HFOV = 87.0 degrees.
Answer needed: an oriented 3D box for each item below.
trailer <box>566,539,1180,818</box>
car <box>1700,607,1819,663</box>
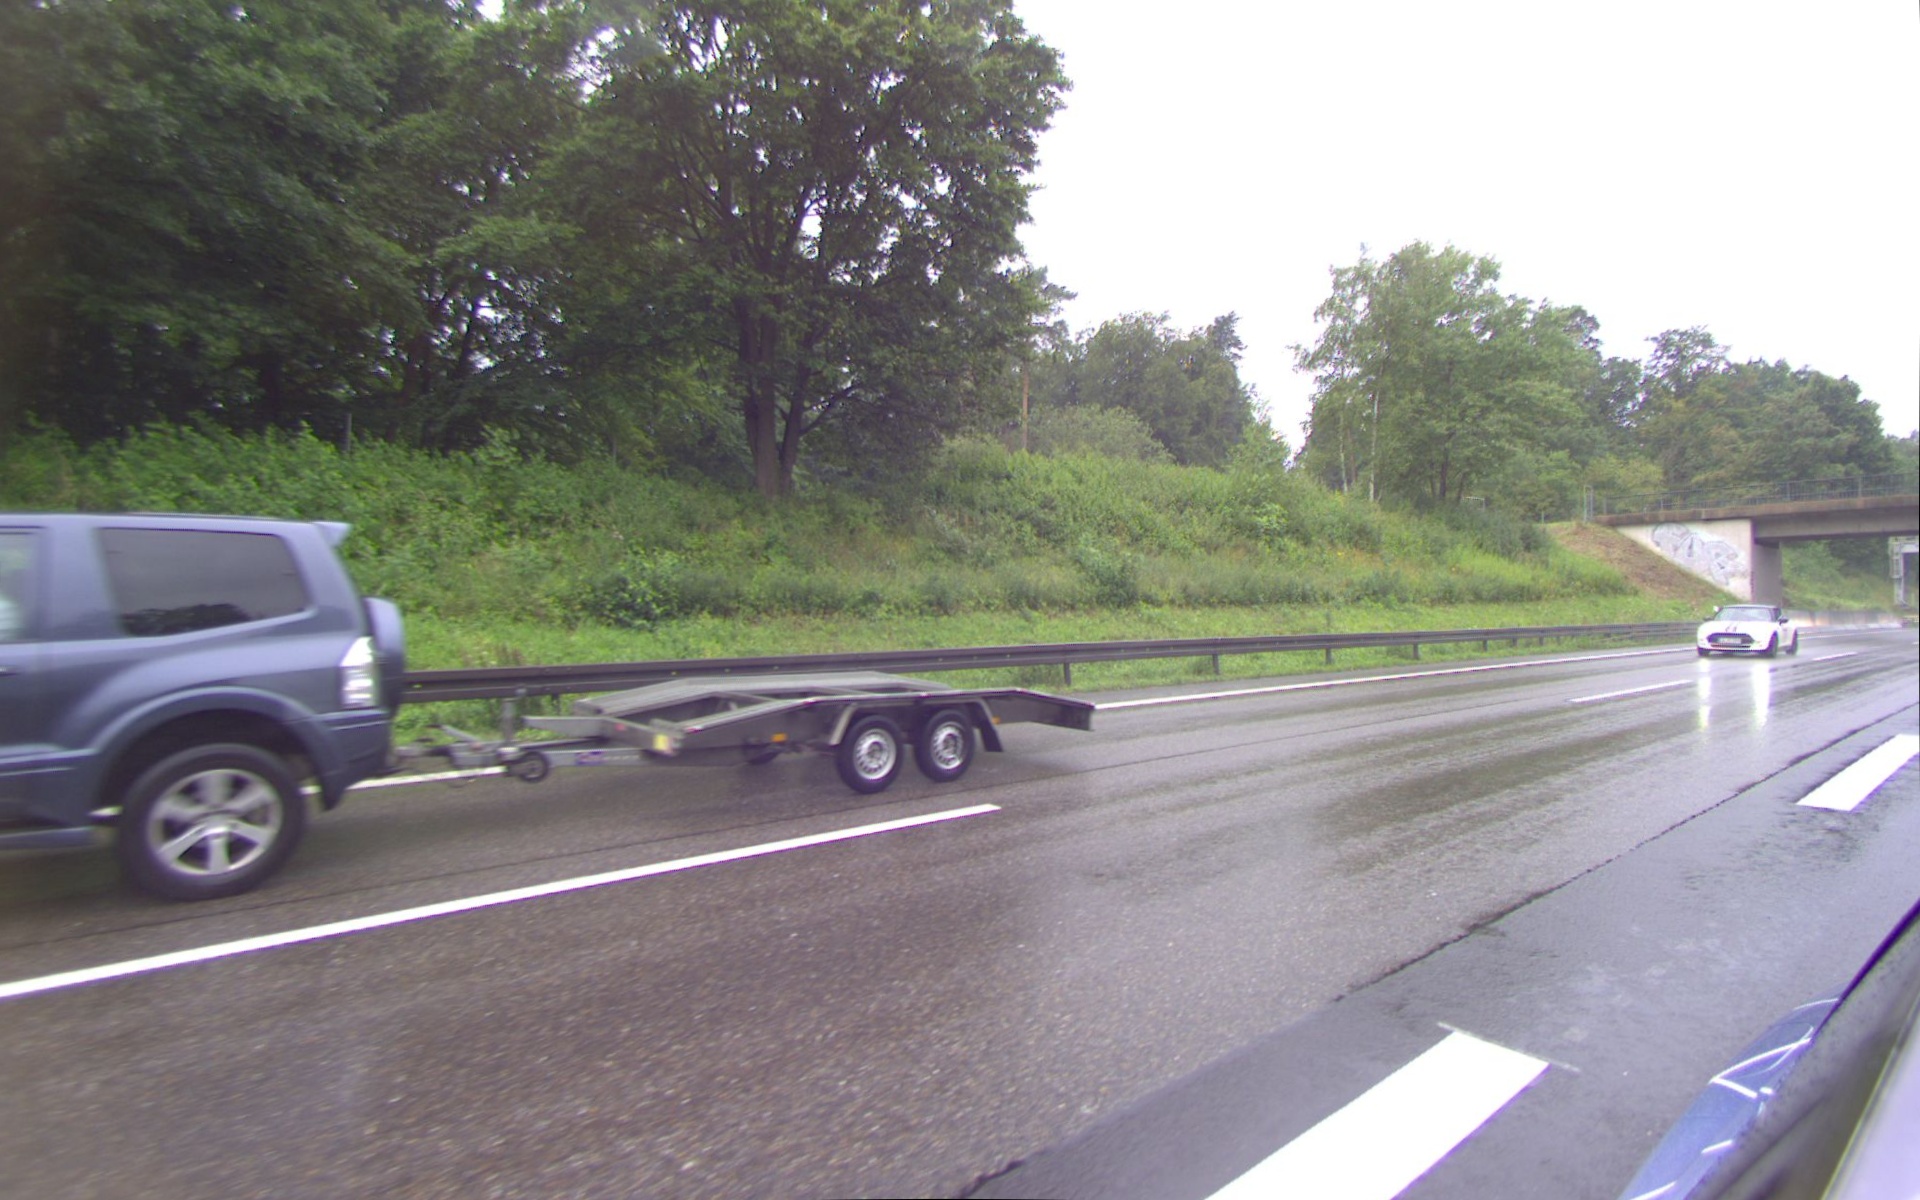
[{"bbox_3d":[-0.511,0.482,8.807,4.994,1.736,2.247,0,0,-41],"label":"trailer"},{"bbox_3d":[22.346,0.916,28.235,4.152,1.425,1.794,0,0,-40],"label":"car"}]
